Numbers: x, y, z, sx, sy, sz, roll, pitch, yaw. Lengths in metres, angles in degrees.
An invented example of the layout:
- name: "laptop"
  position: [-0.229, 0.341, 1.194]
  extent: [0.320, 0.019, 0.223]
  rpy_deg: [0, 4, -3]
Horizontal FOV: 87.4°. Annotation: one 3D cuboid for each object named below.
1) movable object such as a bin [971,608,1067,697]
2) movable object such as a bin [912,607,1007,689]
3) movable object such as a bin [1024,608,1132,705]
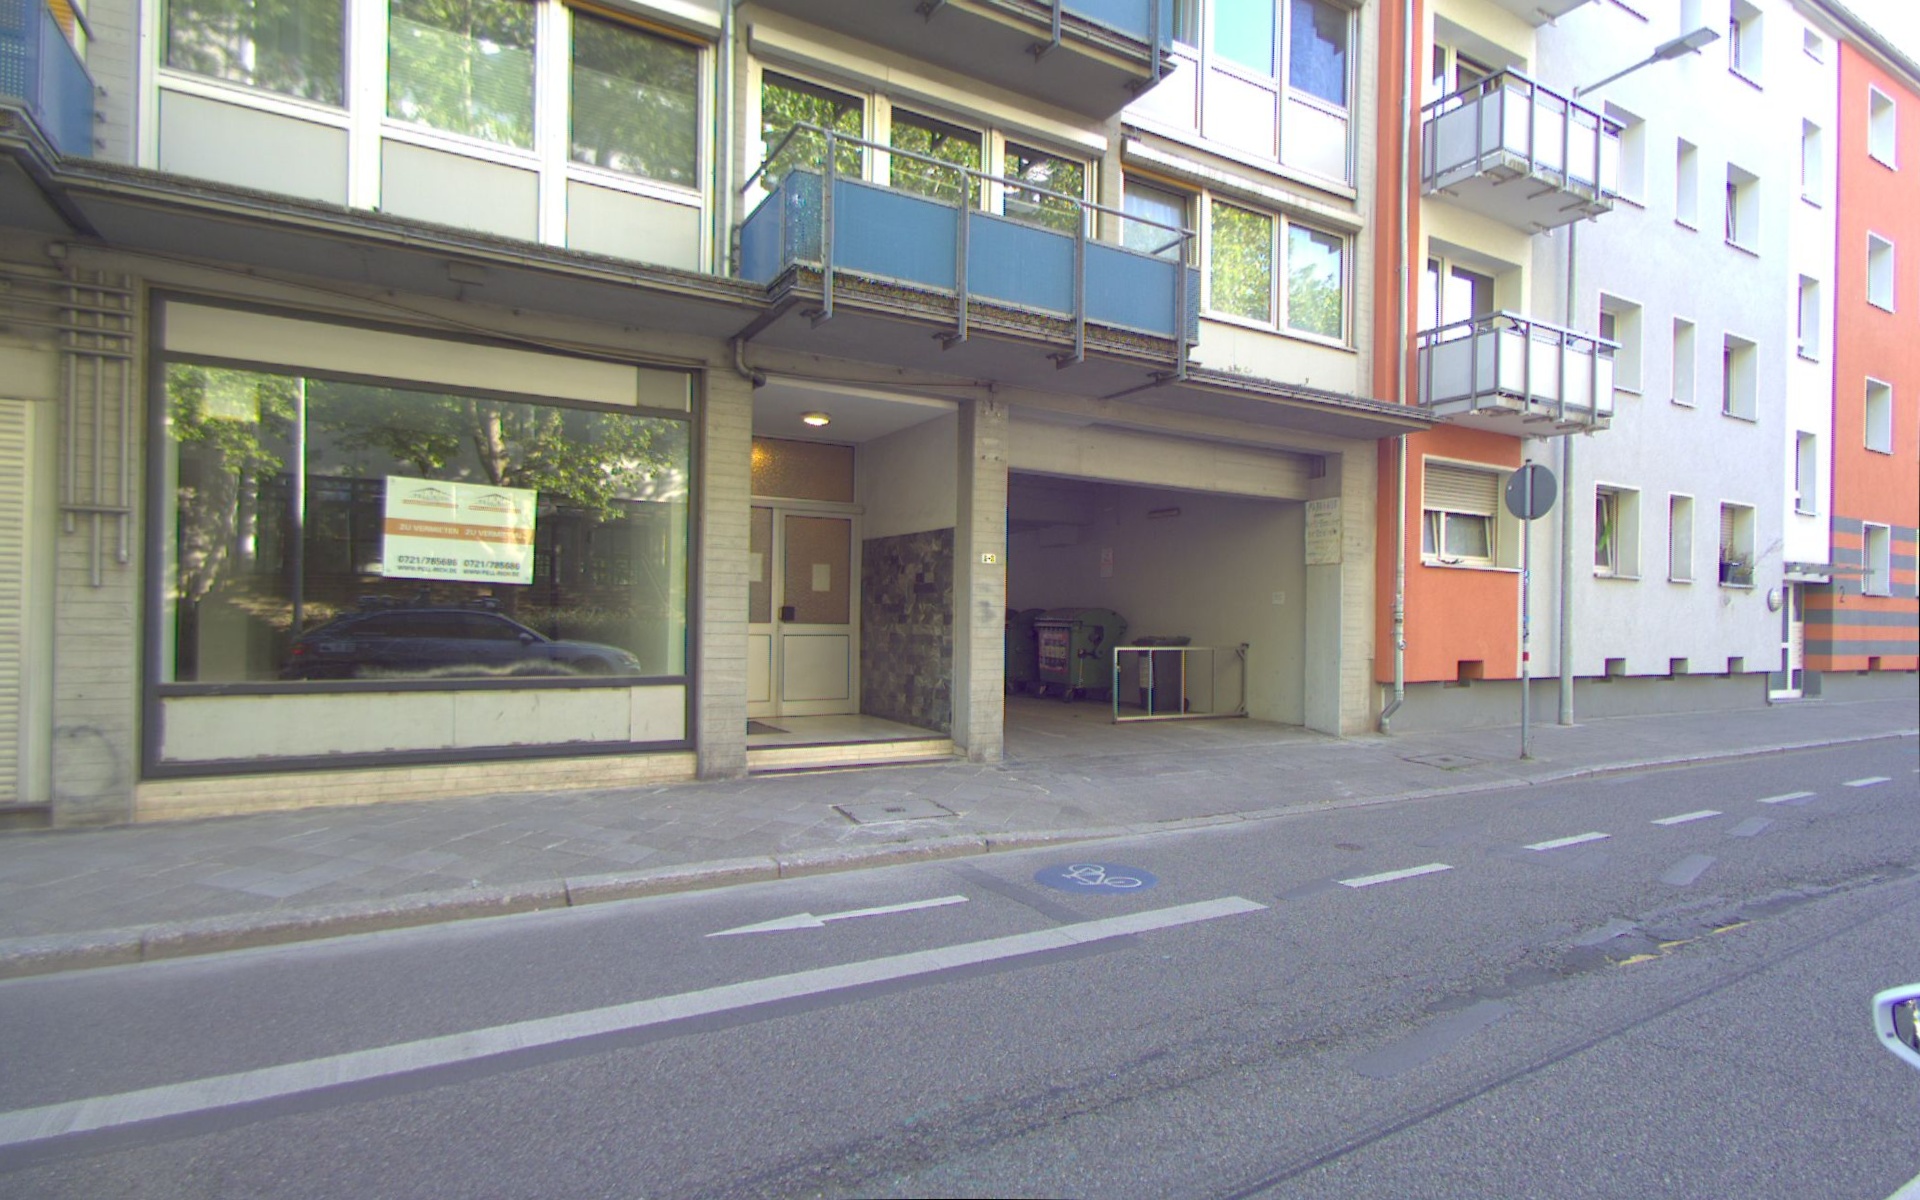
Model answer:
- name: "movable object such as a bin"
  position: [0.993, 0.866, 17.181]
  extent: [1.119, 1.449, 1.322]
  rpy_deg: [1, 0, -28]
- name: "movable object such as a bin"
  position: [-0.035, 0.863, 18.883]
  extent: [1.119, 1.449, 1.666]
  rpy_deg: [1, 0, -28]
- name: "movable object such as a bin"
  position: [1.844, 0.860, 15.857]
  extent: [1.128, 1.449, 1.342]
  rpy_deg: [1, 0, -28]
